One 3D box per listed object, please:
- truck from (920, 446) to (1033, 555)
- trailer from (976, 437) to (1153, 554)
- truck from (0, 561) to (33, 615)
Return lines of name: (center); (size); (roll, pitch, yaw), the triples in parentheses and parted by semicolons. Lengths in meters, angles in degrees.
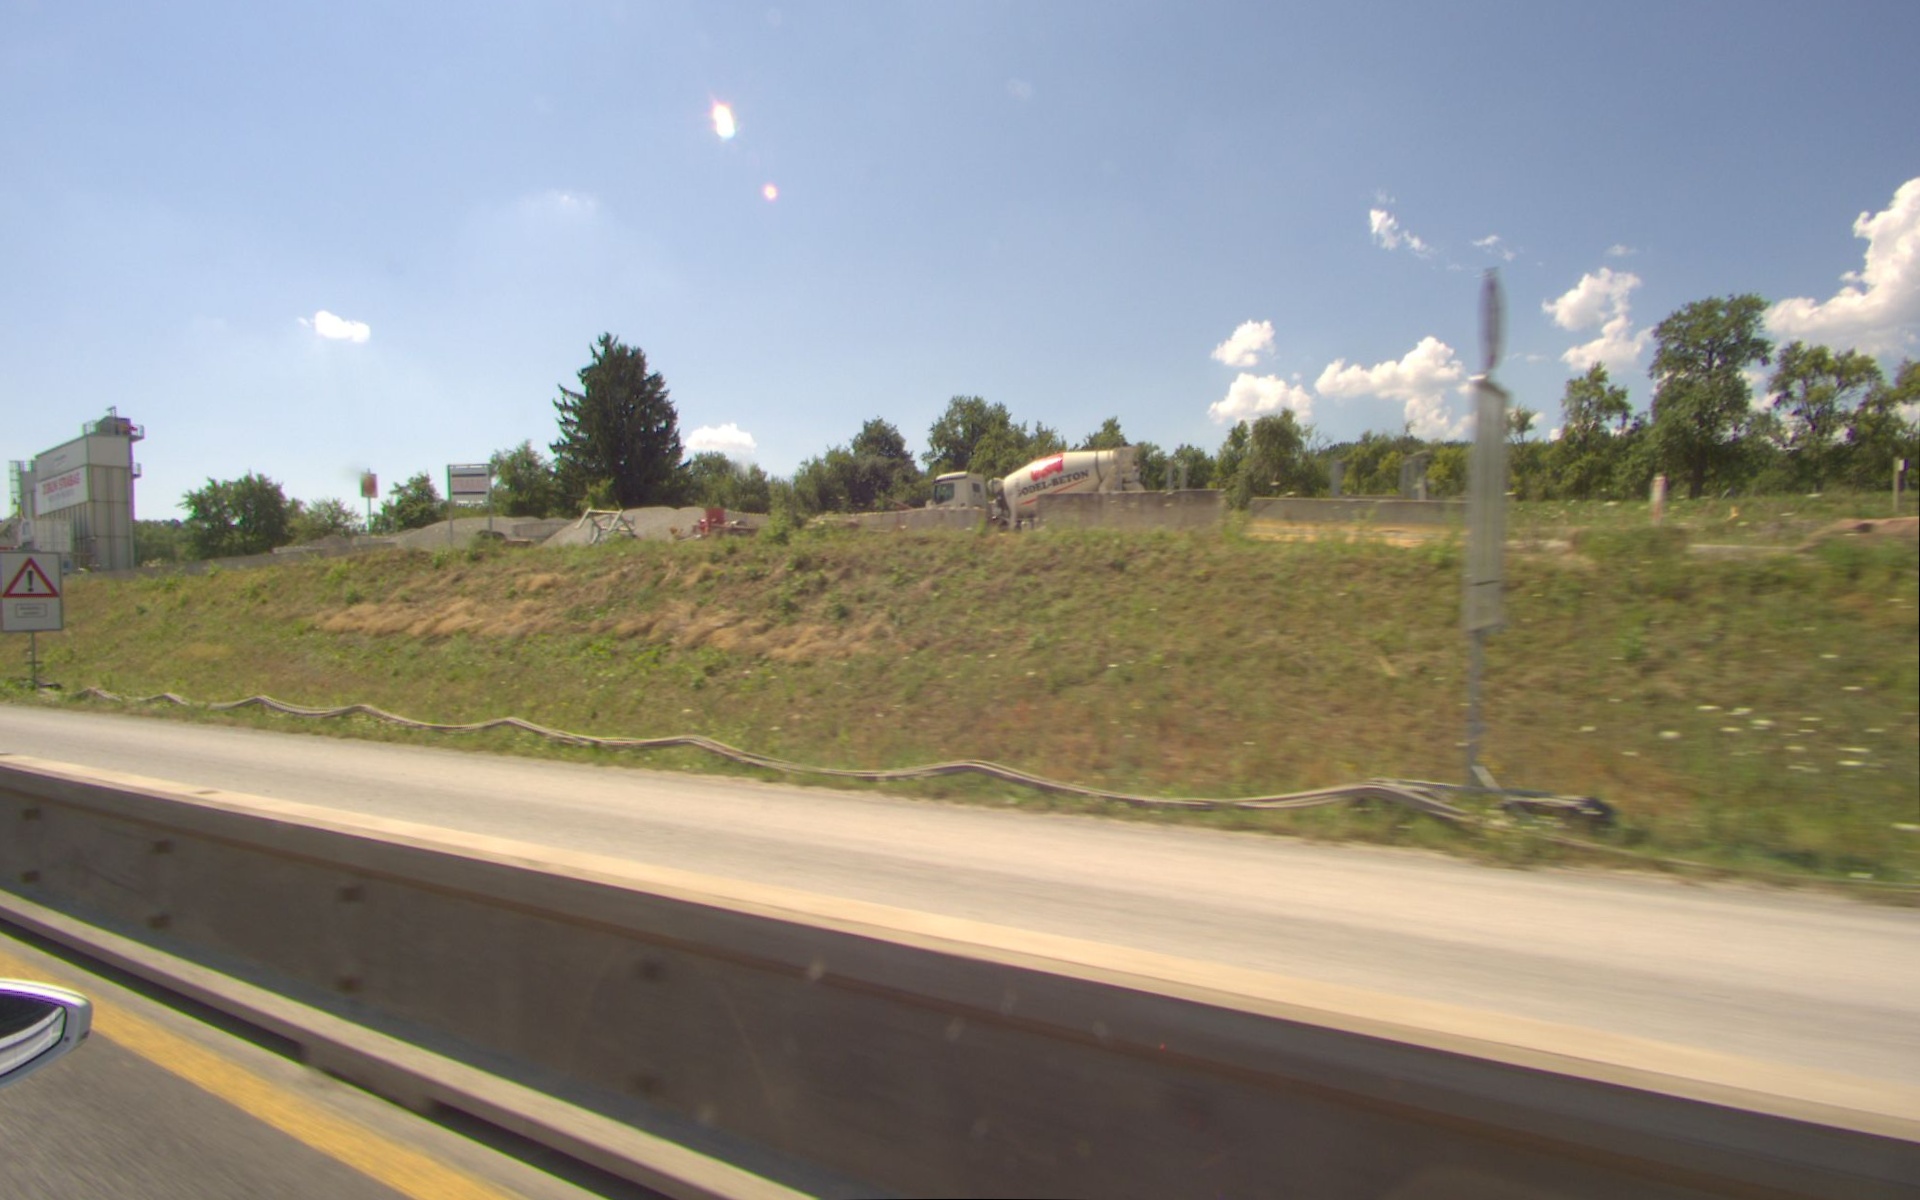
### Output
truck: (0.739, -4.084, 42.362); (4.031, 4.150, 2.746); (0, 0, 23)
trailer: (4.258, -4.111, 40.834); (6.633, 4.169, 2.757); (-1, 0, 23)
truck: (-82.595, -0.934, 85.321); (9.796, 4.353, 3.425); (-1, 0, 36)
